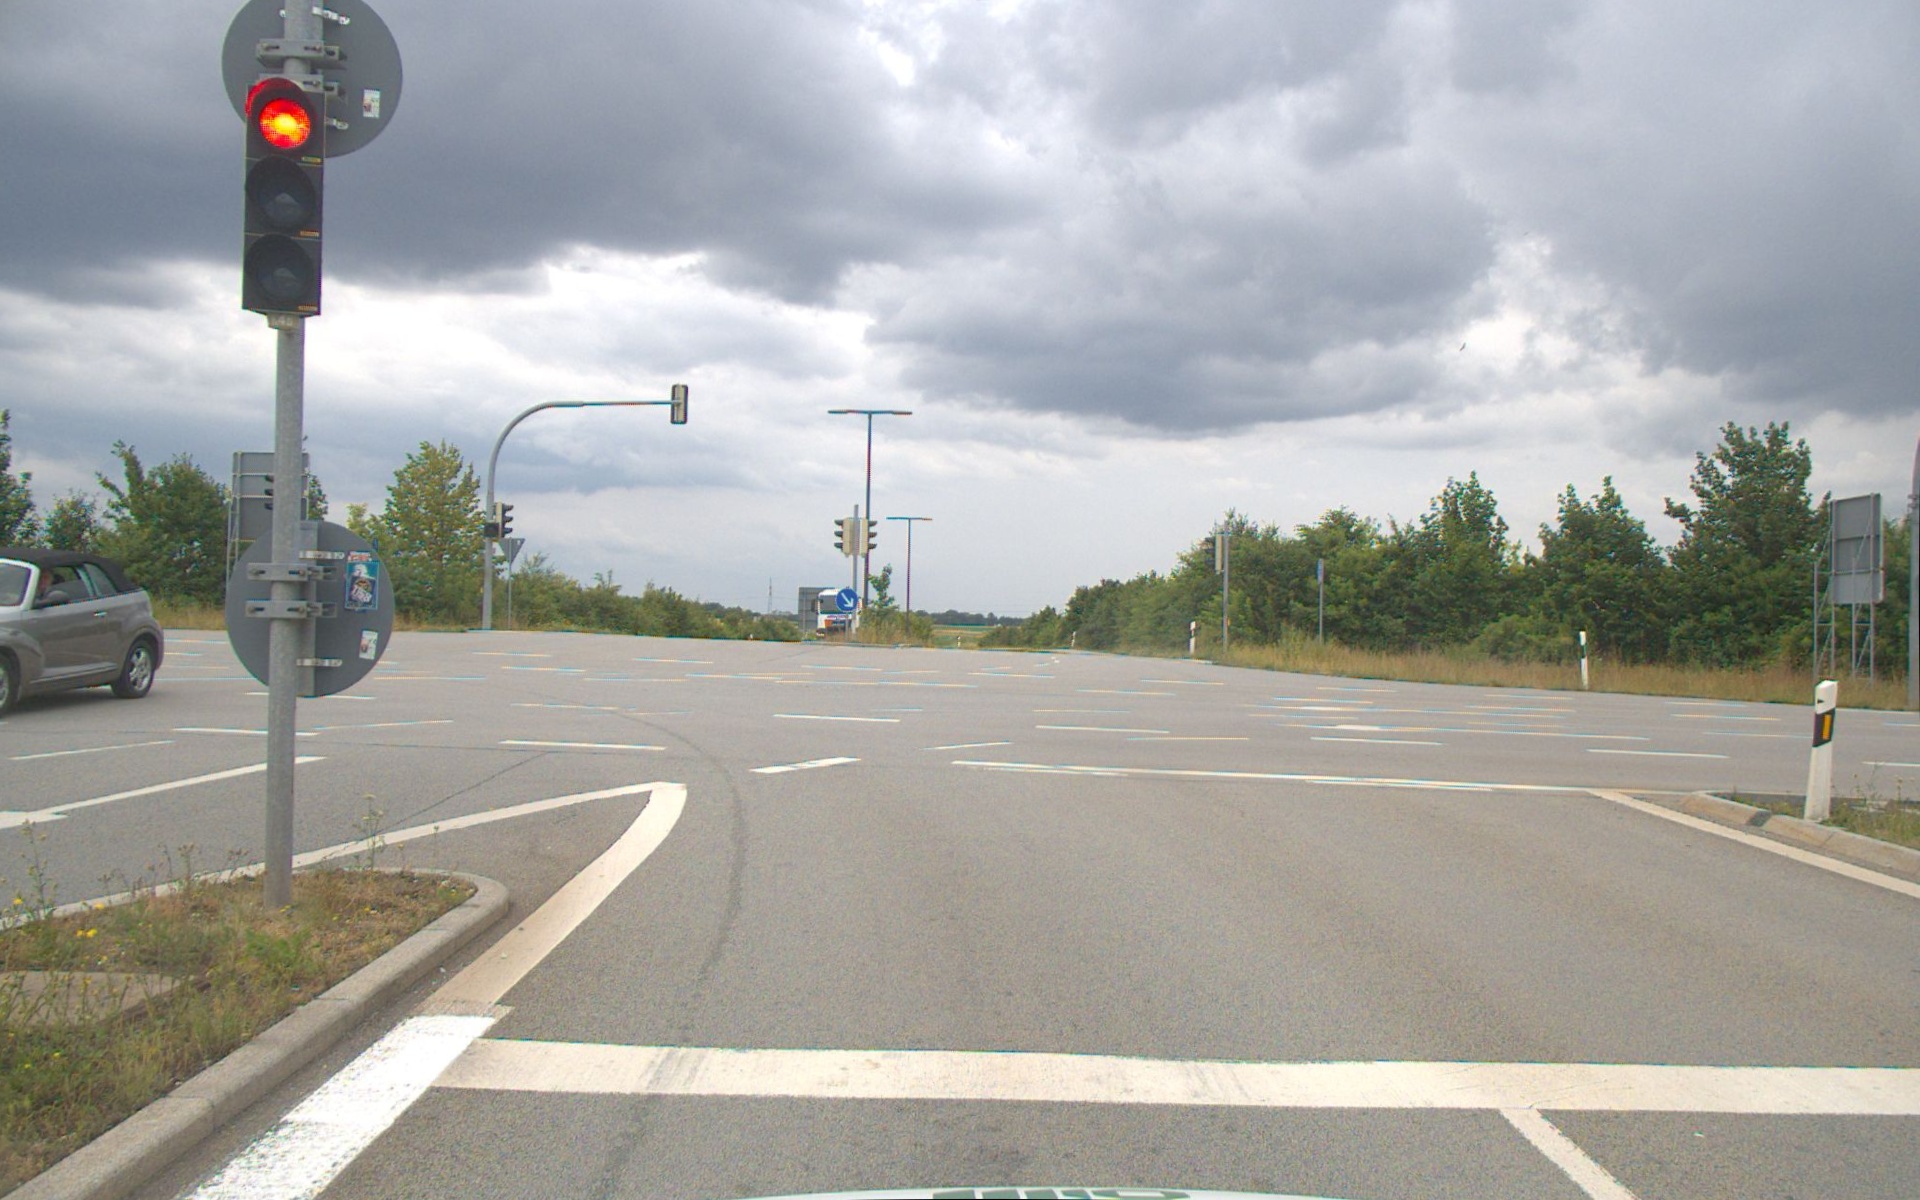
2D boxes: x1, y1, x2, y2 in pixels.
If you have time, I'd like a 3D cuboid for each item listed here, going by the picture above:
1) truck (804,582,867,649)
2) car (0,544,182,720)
[{"bbox_3d":[-6.771,0.938,90.878,2.811,3.468,8.648,1,-1,0],"label":"truck"},{"bbox_3d":[-9.372,0.235,15.924,1.773,1.546,4.242,2,1,-1],"label":"car"}]
